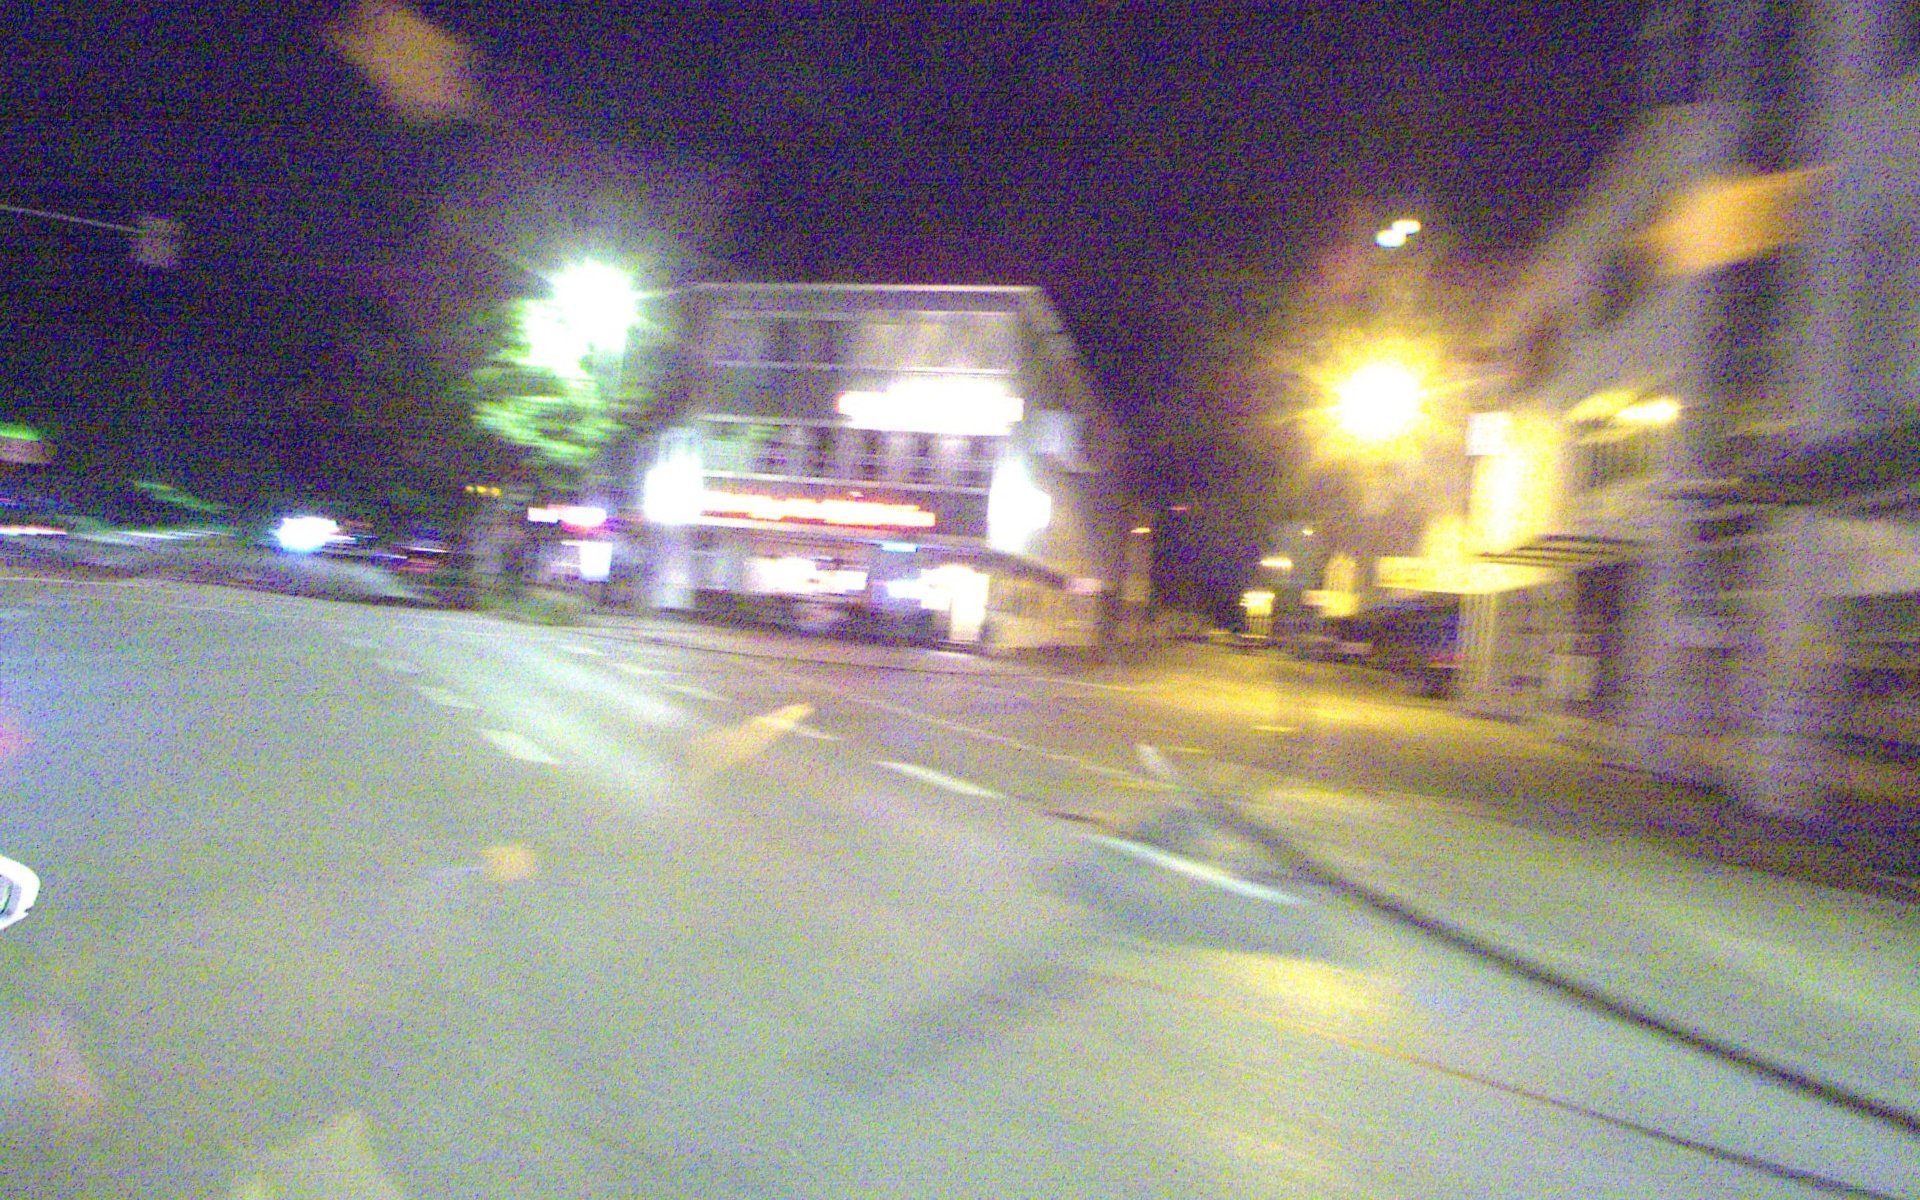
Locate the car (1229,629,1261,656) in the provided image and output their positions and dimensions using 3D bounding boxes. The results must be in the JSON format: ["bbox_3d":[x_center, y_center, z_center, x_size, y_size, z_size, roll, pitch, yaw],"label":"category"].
[{"bbox_3d":[21.459,3.245,75.926,1.962,1.770,4.004,7,-1,14],"label":"car"}]

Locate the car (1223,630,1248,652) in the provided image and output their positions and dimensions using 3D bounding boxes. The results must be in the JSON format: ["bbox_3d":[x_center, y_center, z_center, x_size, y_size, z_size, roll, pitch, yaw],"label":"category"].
[{"bbox_3d":[27.145,4.041,98.907,1.963,1.804,4.002,7,-1,19],"label":"car"}]

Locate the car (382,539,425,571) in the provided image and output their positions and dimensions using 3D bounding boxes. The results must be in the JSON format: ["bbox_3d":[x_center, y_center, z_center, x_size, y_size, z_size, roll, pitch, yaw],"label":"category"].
[{"bbox_3d":[-31.775,-2.587,57.346,1.876,1.470,3.863,8,-1,-31],"label":"car"}]

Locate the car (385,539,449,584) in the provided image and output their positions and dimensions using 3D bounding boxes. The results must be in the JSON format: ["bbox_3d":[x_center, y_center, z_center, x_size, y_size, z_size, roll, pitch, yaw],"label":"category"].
[{"bbox_3d":[-25.189,-1.806,46.635,1.860,1.673,3.823,8,-1,-38],"label":"car"}]

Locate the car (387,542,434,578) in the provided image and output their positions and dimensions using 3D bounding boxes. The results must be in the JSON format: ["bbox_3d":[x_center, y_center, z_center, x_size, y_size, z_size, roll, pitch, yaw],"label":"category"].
[{"bbox_3d":[-27.844,-2.032,51.040,1.874,1.470,3.867,8,-1,-28],"label":"car"}]

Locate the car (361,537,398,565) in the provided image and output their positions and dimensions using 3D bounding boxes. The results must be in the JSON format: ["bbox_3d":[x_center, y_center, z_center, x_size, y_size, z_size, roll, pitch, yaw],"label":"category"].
[{"bbox_3d":[-41.590,-3.514,72.137,1.991,1.645,3.867,8,-1,-29],"label":"car"}]

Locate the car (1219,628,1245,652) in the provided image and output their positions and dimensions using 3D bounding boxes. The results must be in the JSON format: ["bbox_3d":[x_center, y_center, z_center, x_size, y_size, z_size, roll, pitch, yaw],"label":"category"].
[{"bbox_3d":[25.384,3.738,93.917,1.962,1.859,4.002,7,-1,18],"label":"car"}]
